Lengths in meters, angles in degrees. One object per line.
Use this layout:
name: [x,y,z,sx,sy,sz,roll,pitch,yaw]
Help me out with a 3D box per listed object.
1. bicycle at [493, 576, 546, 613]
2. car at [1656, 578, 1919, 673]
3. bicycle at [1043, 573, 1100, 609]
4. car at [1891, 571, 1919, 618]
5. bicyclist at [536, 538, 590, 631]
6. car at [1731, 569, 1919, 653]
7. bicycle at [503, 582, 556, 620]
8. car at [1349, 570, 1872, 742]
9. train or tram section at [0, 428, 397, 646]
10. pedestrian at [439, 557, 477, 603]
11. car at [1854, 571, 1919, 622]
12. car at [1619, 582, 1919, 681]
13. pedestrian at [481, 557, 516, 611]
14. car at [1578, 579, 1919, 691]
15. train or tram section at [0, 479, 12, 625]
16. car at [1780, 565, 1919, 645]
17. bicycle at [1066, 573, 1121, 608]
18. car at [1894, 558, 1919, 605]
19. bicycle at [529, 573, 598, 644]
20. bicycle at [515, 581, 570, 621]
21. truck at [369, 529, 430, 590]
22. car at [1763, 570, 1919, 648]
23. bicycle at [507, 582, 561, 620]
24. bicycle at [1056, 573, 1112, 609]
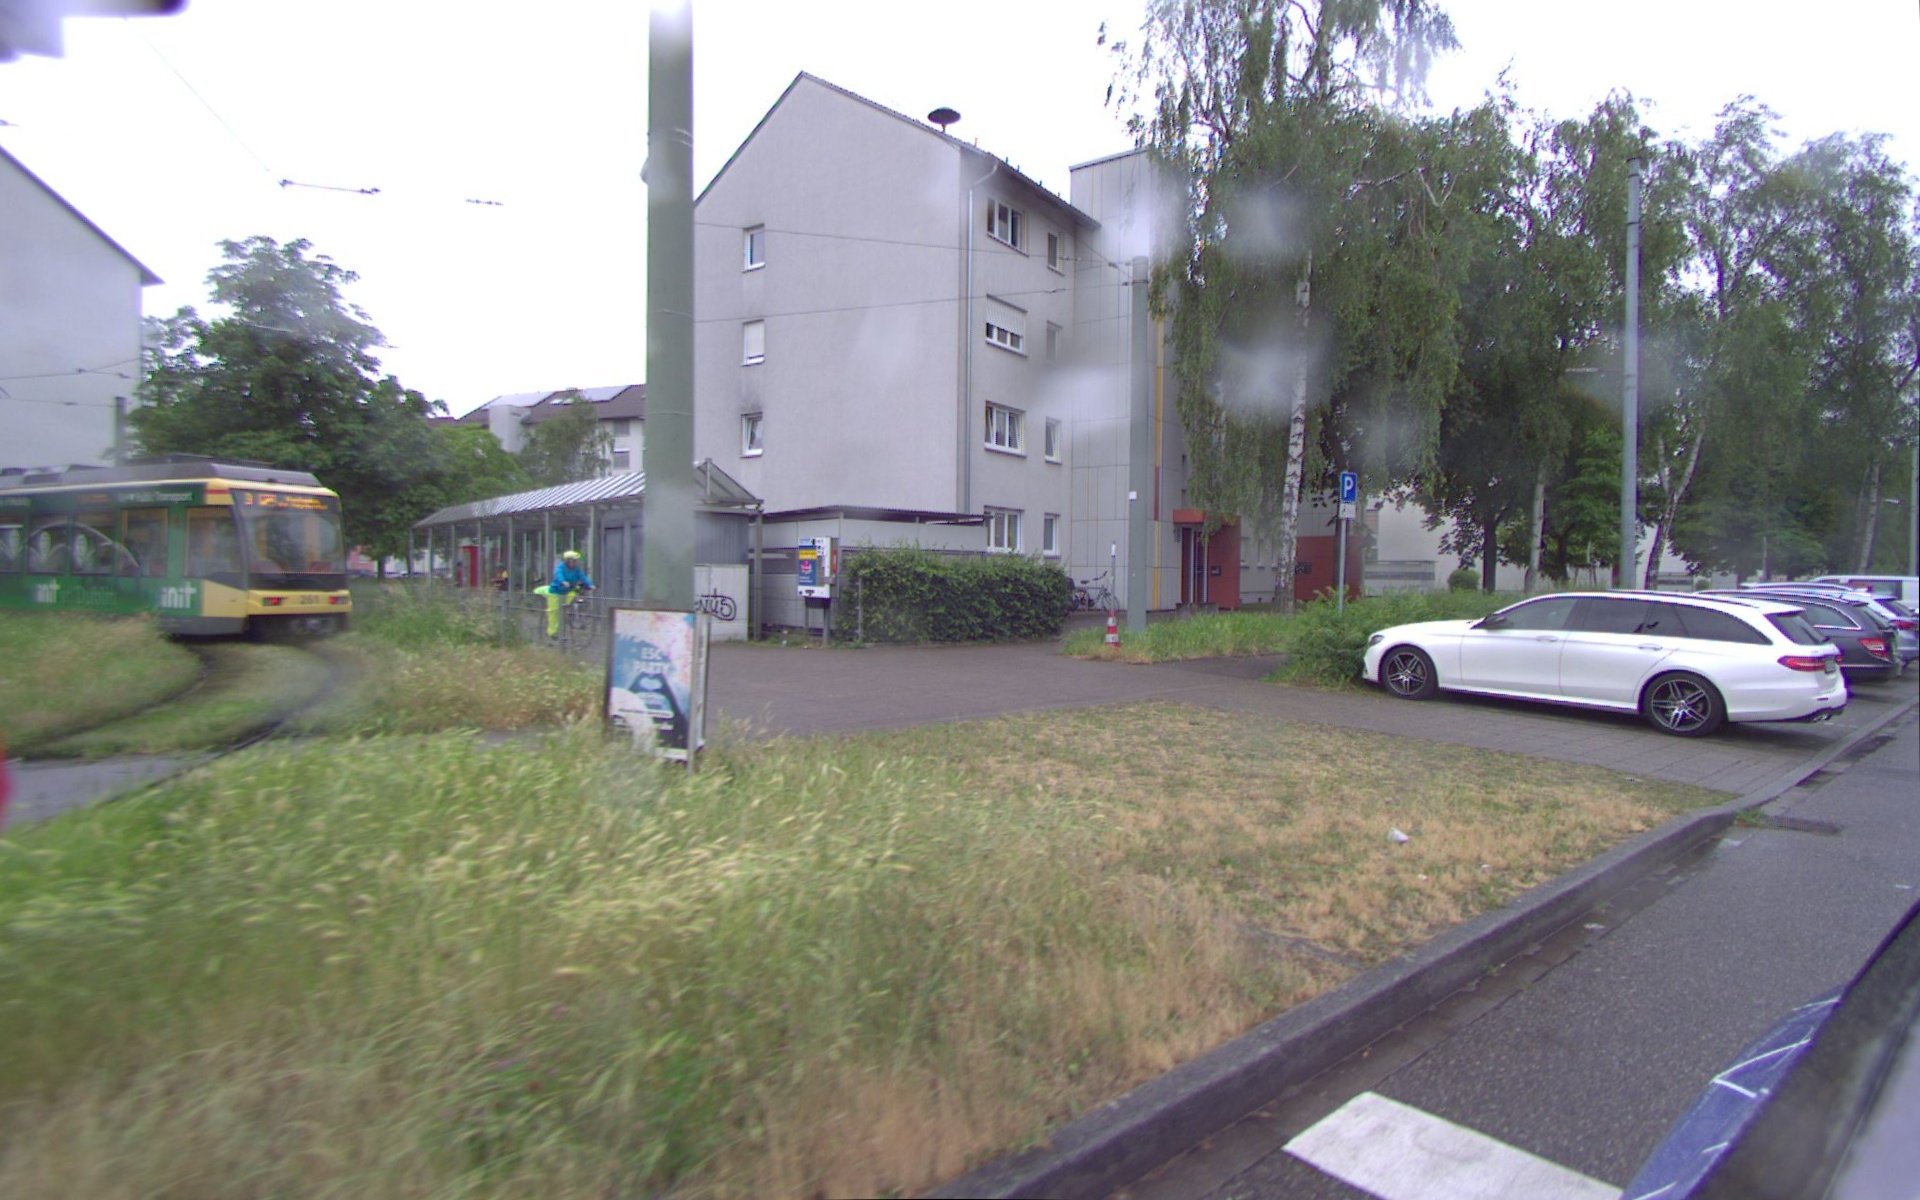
bicycle: [-11.758,-0.156,27.049,0.414,0.959,1.292,-1,0,33]
car: [15.820,0.439,19.197,1.692,1.606,3.995,-1,0,-39]
bicycle: [3.004,-0.255,27.375,1.467,0.963,0.526,1,1,36]
car: [41.799,-0.225,41.955,1.866,1.967,4.541,0,0,-41]
bicyclist: [-6.797,-0.261,17.323,0.711,1.536,0.699,1,0,-34]
car: [21.334,0.243,24.096,1.692,1.869,4.440,-1,0,-39]
bicycle: [-11.176,0.027,26.283,1.215,0.959,0.377,-1,0,-38]
car: [7.406,0.468,12.026,1.964,1.476,4.838,0,3,-40]
train or tram section: [-17.900,-1.118,21.231,14.583,3.635,2.691,1,0,25]
pedestrian: [-21.028,-0.828,42.416,1.165,1.907,1.056,-1,0,-13]
car: [37.491,-0.141,38.890,1.866,1.967,4.541,0,0,-41]
car: [13.924,0.480,17.429,1.692,1.505,3.995,-1,0,-39]
pedestrian: [-13.822,-0.472,30.295,0.776,1.592,0.635,-1,-1,-42]
car: [12.110,0.480,15.677,1.692,1.505,3.995,-1,0,-39]
train or tram section: [-31.271,-1.250,25.066,14.484,3.635,2.709,0,0,7]
car: [25.249,0.126,27.488,1.694,2.088,4.434,-1,0,-43]
bicycle: [3.760,-0.271,28.565,1.467,0.963,0.526,1,1,36]
car: [44.721,-0.860,45.103,1.694,2.088,4.434,-1,0,-43]
bicycle: [-6.822,0.134,17.355,0.714,1.144,1.754,1,0,-35]
bicycle: [-10.420,0.016,25.264,1.215,0.959,0.377,-1,0,-38]
truck: [-35.571,-2.460,64.080,3.139,3.518,7.153,-1,0,-31]
car: [23.231,0.208,25.483,1.692,1.869,4.440,-1,0,-39]
bicycle: [-10.886,0.023,25.877,1.215,0.959,0.377,-1,0,-38]
bicycle: [3.435,-0.262,28.051,1.467,0.963,0.526,1,1,36]
